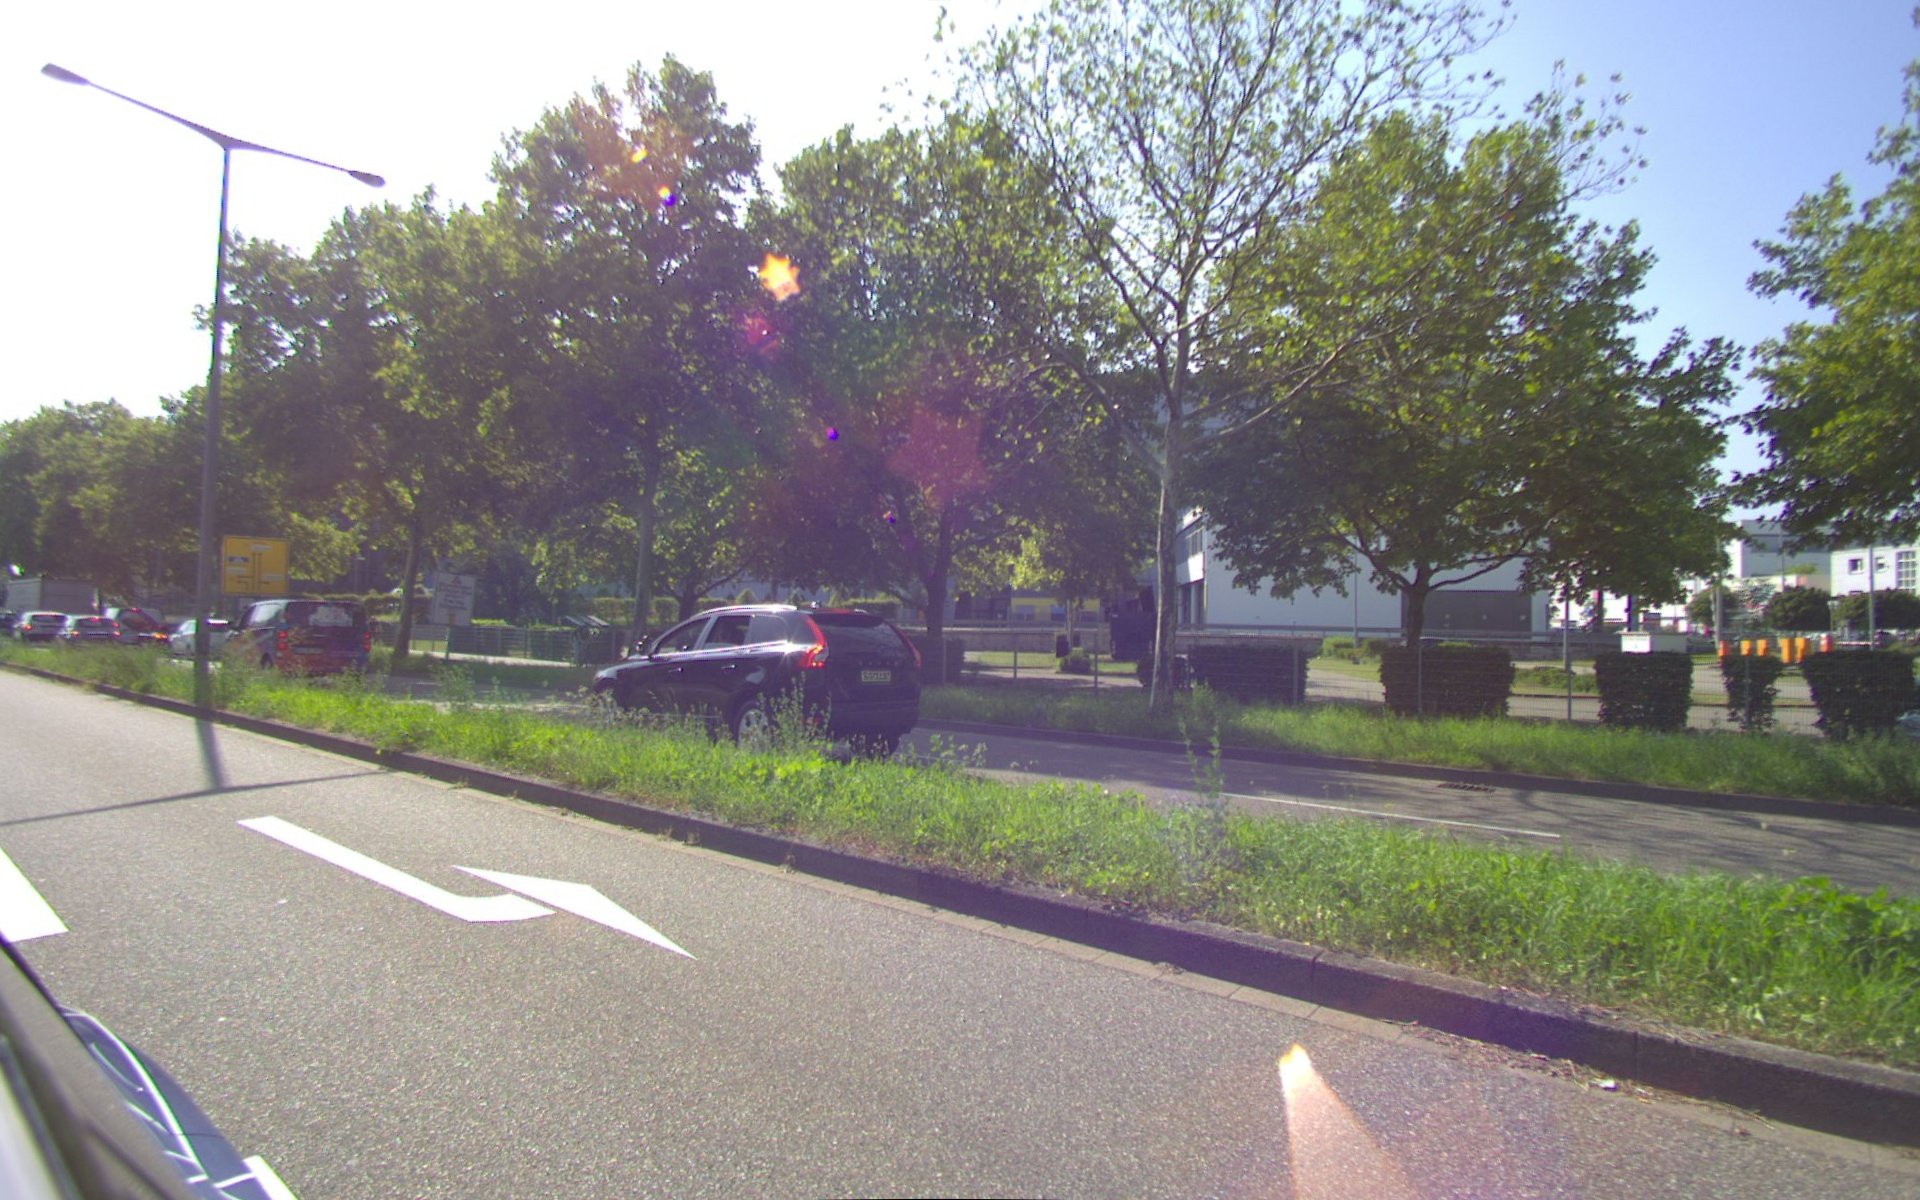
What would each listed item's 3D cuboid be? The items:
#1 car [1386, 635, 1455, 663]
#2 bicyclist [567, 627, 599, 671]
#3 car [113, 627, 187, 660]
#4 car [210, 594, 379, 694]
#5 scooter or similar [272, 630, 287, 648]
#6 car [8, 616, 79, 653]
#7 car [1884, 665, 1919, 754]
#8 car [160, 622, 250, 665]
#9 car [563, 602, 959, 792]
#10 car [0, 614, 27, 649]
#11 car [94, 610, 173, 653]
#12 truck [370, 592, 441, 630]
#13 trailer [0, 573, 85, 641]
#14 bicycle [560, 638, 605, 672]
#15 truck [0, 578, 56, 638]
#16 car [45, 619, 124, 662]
[{"bbox_3d":[24.968,2.644,54.950,3.090,1.447,1.378,0,-1,8],"label":"car"},{"bbox_3d":[-12.884,1.665,34.594,0.839,1.450,0.641,-1,-3,40],"label":"bicyclist"},{"bbox_3d":[-33.788,1.800,42.172,4.095,1.272,1.771,-1,-3,43],"label":"car"},{"bbox_3d":[-15.057,0.967,22.813,4.563,2.043,1.912,-1,-3,40],"label":"car"},{"bbox_3d":[-44.651,2.528,66.390,1.381,1.136,0.503,-1,-1,42],"label":"scooter or similar"},{"bbox_3d":[-41.871,1.564,46.203,4.106,1.606,1.860,-1,-3,41],"label":"car"},{"bbox_3d":[16.609,1.766,16.552,1.818,1.320,3.950,-1,-3,37],"label":"car"},{"bbox_3d":[-28.421,1.608,38.060,3.996,1.493,1.773,-1,-2,40],"label":"car"},{"bbox_3d":[-2.357,0.911,11.351,4.500,1.719,1.974,-1,-1,39],"label":"car"},{"bbox_3d":[-50.988,1.610,53.421,4.304,1.773,1.973,-1,-4,40],"label":"car"},{"bbox_3d":[-38.608,1.458,47.216,4.967,1.873,1.964,-1,-4,41],"label":"car"},{"bbox_3d":[-44.135,0.880,80.710,2.210,2.883,5.899,0,-1,3],"label":"truck"},{"bbox_3d":[-58.724,0.517,64.290,13.804,3.851,2.606,-1,-4,41],"label":"trailer"},{"bbox_3d":[-12.913,1.863,34.594,1.799,1.116,0.641,-1,-3,40],"label":"bicycle"},{"bbox_3d":[-63.323,0.575,68.276,5.888,3.849,2.580,-1,-4,41],"label":"truck"},{"bbox_3d":[-32.388,1.455,37.413,3.490,1.497,1.659,-1,-1,40],"label":"car"}]
